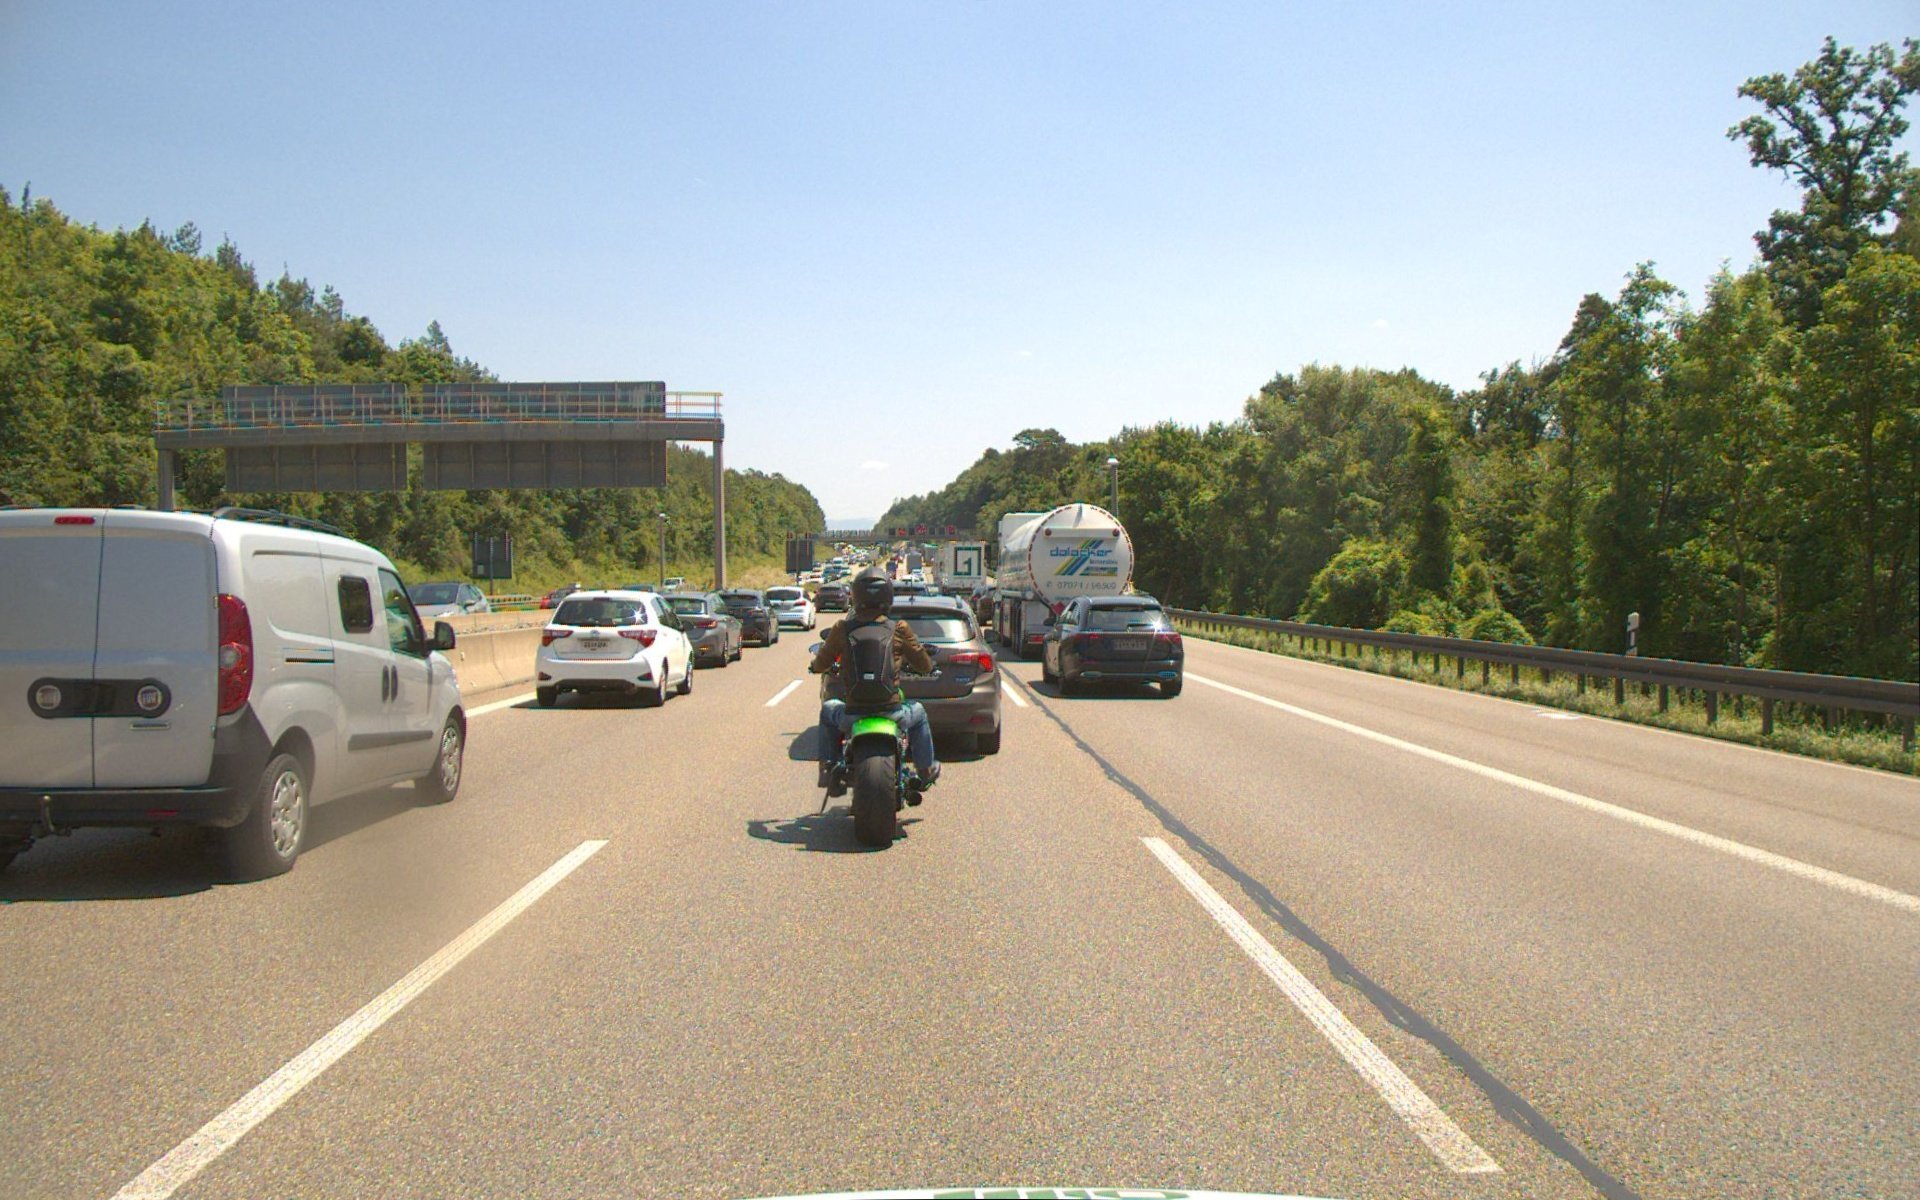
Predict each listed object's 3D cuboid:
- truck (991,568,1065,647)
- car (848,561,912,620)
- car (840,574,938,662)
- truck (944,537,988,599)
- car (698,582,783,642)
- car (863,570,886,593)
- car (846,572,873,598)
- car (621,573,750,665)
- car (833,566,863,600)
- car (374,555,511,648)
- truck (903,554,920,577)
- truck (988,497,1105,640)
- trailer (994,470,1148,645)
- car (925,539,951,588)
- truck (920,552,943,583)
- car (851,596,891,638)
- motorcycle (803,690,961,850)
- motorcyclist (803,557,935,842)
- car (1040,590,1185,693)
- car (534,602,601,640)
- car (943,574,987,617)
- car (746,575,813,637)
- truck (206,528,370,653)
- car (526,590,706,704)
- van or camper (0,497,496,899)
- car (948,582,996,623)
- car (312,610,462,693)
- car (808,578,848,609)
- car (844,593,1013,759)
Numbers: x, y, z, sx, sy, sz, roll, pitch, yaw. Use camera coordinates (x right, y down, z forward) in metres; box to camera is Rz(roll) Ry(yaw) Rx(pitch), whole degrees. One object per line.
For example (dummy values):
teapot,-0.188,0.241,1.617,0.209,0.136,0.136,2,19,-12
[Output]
truck,2.735,0.267,68.401,2.340,3.031,8.248,0,0,-3
car,-2.562,-0.275,53.083,1.953,1.806,3.998,0,-1,-3
car,-1.507,0.378,35.090,1.953,1.741,3.998,0,-1,-3
truck,0.437,-2.071,110.615,2.795,3.888,7.188,0,-1,1
car,-5.691,0.318,43.240,1.954,1.490,3.996,1,-1,-4
car,-7.868,-1.695,152.594,1.953,2.049,3.999,-1,0,-2
car,-6.686,-0.989,110.397,1.627,1.627,3.999,0,0,-1
car,-5.428,0.380,33.217,1.953,1.713,4.328,0,-1,-2
car,-6.635,-0.991,98.356,1.627,2.012,3.999,0,0,-1
car,-12.047,0.055,38.771,1.953,2.049,3.999,0,-1,-1
truck,-7.743,-5.515,263.430,2.642,3.465,10.474,-1,0,-2
truck,2.324,-0.791,46.511,2.771,3.735,6.427,0,-1,-2
trailer,2.486,-0.853,40.820,2.771,3.735,10.728,0,-1,-2
car,-1.951,-3.172,146.340,2.123,3.961,9.326,0,-1,-2
truck,-3.460,-3.875,198.559,2.642,3.465,10.474,-1,0,-2
car,-4.543,0.870,84.865,1.953,2.049,3.998,0,-1,-2
motorcycle,-0.488,1.059,10.827,0.917,0.807,2.298,0,0,-2
motorcyclist,-0.560,0.605,10.506,0.783,1.717,1.016,0,-1,-2
car,2.332,0.631,26.336,1.756,1.484,4.622,0,-1,-2
car,-16.619,0.881,70.275,1.953,1.546,3.999,0,-1,-1
car,0.220,-0.179,81.653,1.954,2.049,3.997,0,-1,-3
car,-6.158,0.220,56.818,1.953,2.049,3.998,0,-1,-2
truck,-23.466,-0.270,58.218,2.638,4.059,7.987,0,-1,-2
car,-4.666,0.622,22.973,1.740,1.435,3.998,0,-1,-2
van or camper,-4.383,0.439,10.175,1.815,1.913,4.561,1,1,-1
car,0.431,0.126,64.681,1.740,1.554,3.998,0,-1,-2
car,-11.536,0.997,33.575,1.788,1.521,3.998,0,0,-3
car,-6.543,-0.324,82.410,1.728,1.467,3.999,0,-1,-1
car,-0.336,0.675,16.832,1.510,1.475,3.999,0,0,-2
